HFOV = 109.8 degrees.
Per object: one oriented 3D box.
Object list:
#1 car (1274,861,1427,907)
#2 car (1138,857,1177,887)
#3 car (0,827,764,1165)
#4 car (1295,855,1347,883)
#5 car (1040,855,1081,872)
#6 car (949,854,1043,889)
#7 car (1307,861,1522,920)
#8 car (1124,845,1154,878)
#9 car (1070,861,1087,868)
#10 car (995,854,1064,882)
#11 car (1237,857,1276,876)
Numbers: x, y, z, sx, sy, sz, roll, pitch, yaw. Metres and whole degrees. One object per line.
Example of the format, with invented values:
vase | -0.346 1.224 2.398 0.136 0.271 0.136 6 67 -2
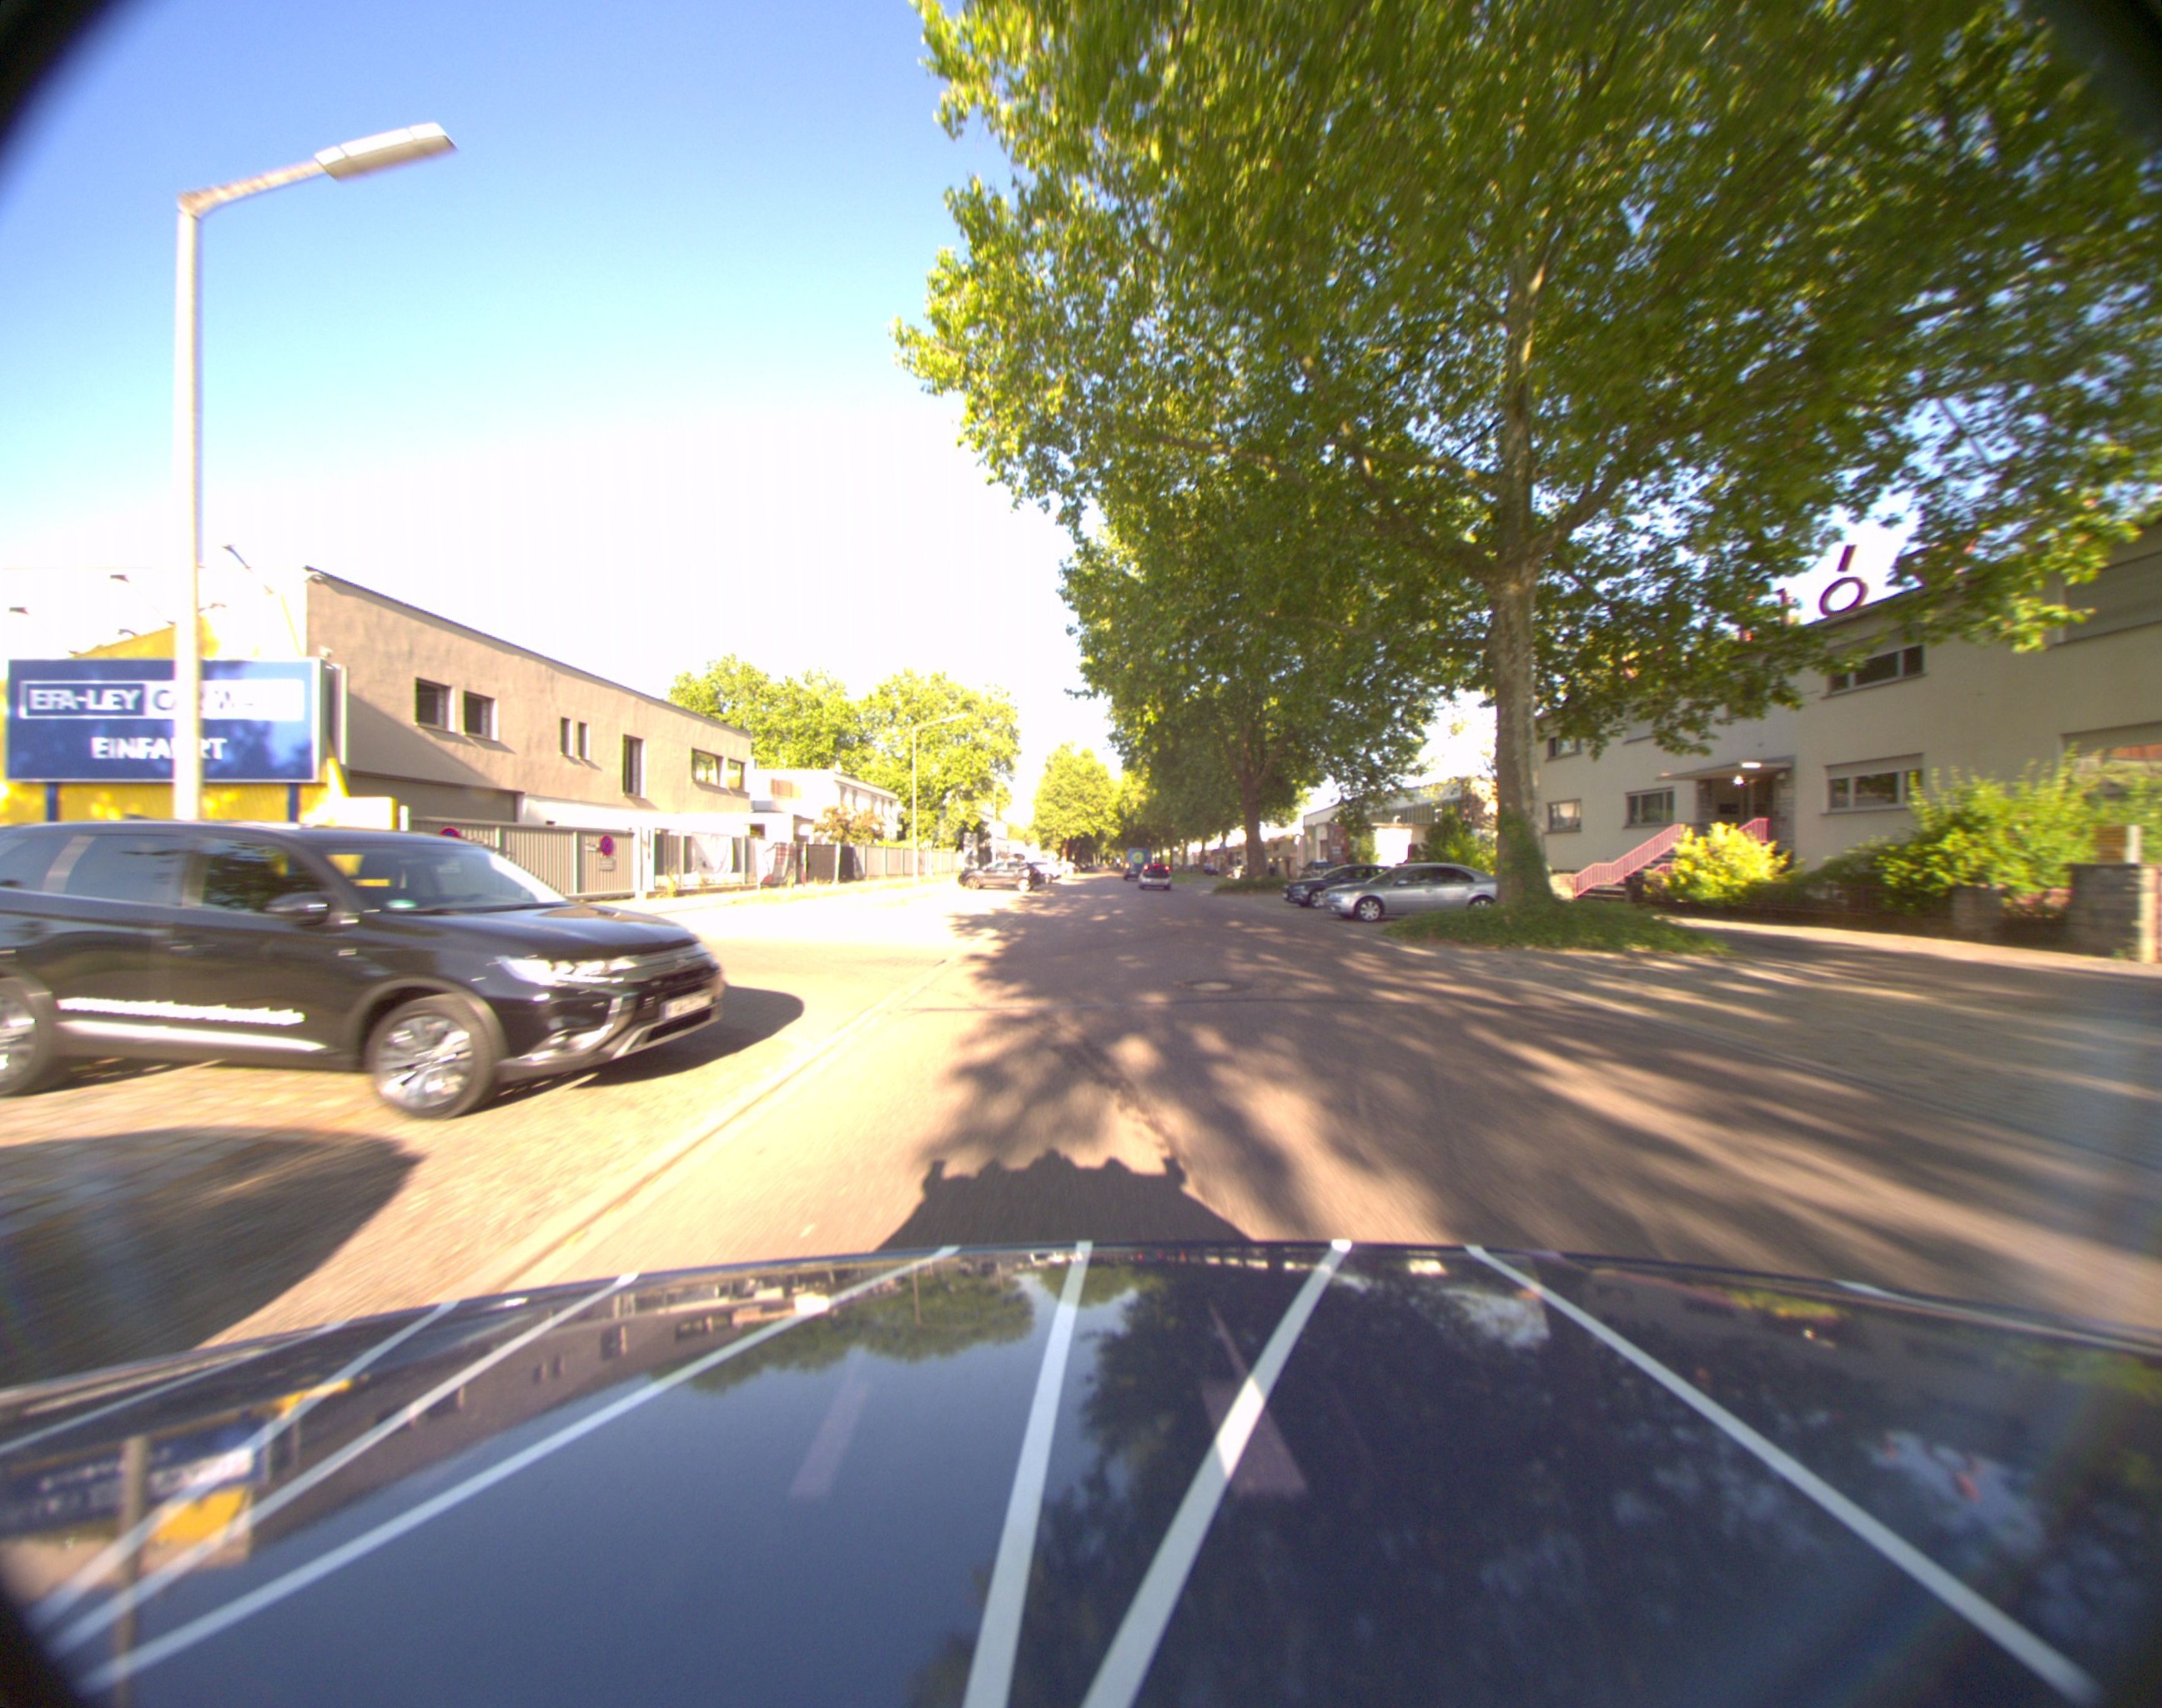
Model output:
car | 8.797 0.968 25.079 4.365 1.413 2.000 0 0 -1
car | 4.331 1.003 43.594 1.843 1.562 3.802 2 1 1
car | -4.887 0.721 5.105 4.611 1.571 2.000 3 1 3
car | 14.699 0.881 46.782 1.998 1.567 4.273 -1 0 3
car | -2.336 1.069 87.920 4.582 1.705 1.943 3 1 -2
car | -4.411 0.898 39.866 4.636 1.518 2.000 3 1 0
car | 8.380 0.896 19.397 4.611 1.413 2.000 0 0 1
car | 4.869 0.603 64.740 2.133 2.643 7.002 0 0 1
car | -0.499 2.395 178.667 3.944 1.504 1.667 2 1 1
car | -3.602 0.981 53.667 4.636 1.702 2.000 3 1 0
car | 14.281 0.986 62.009 1.999 1.362 3.919 4 0 -3
